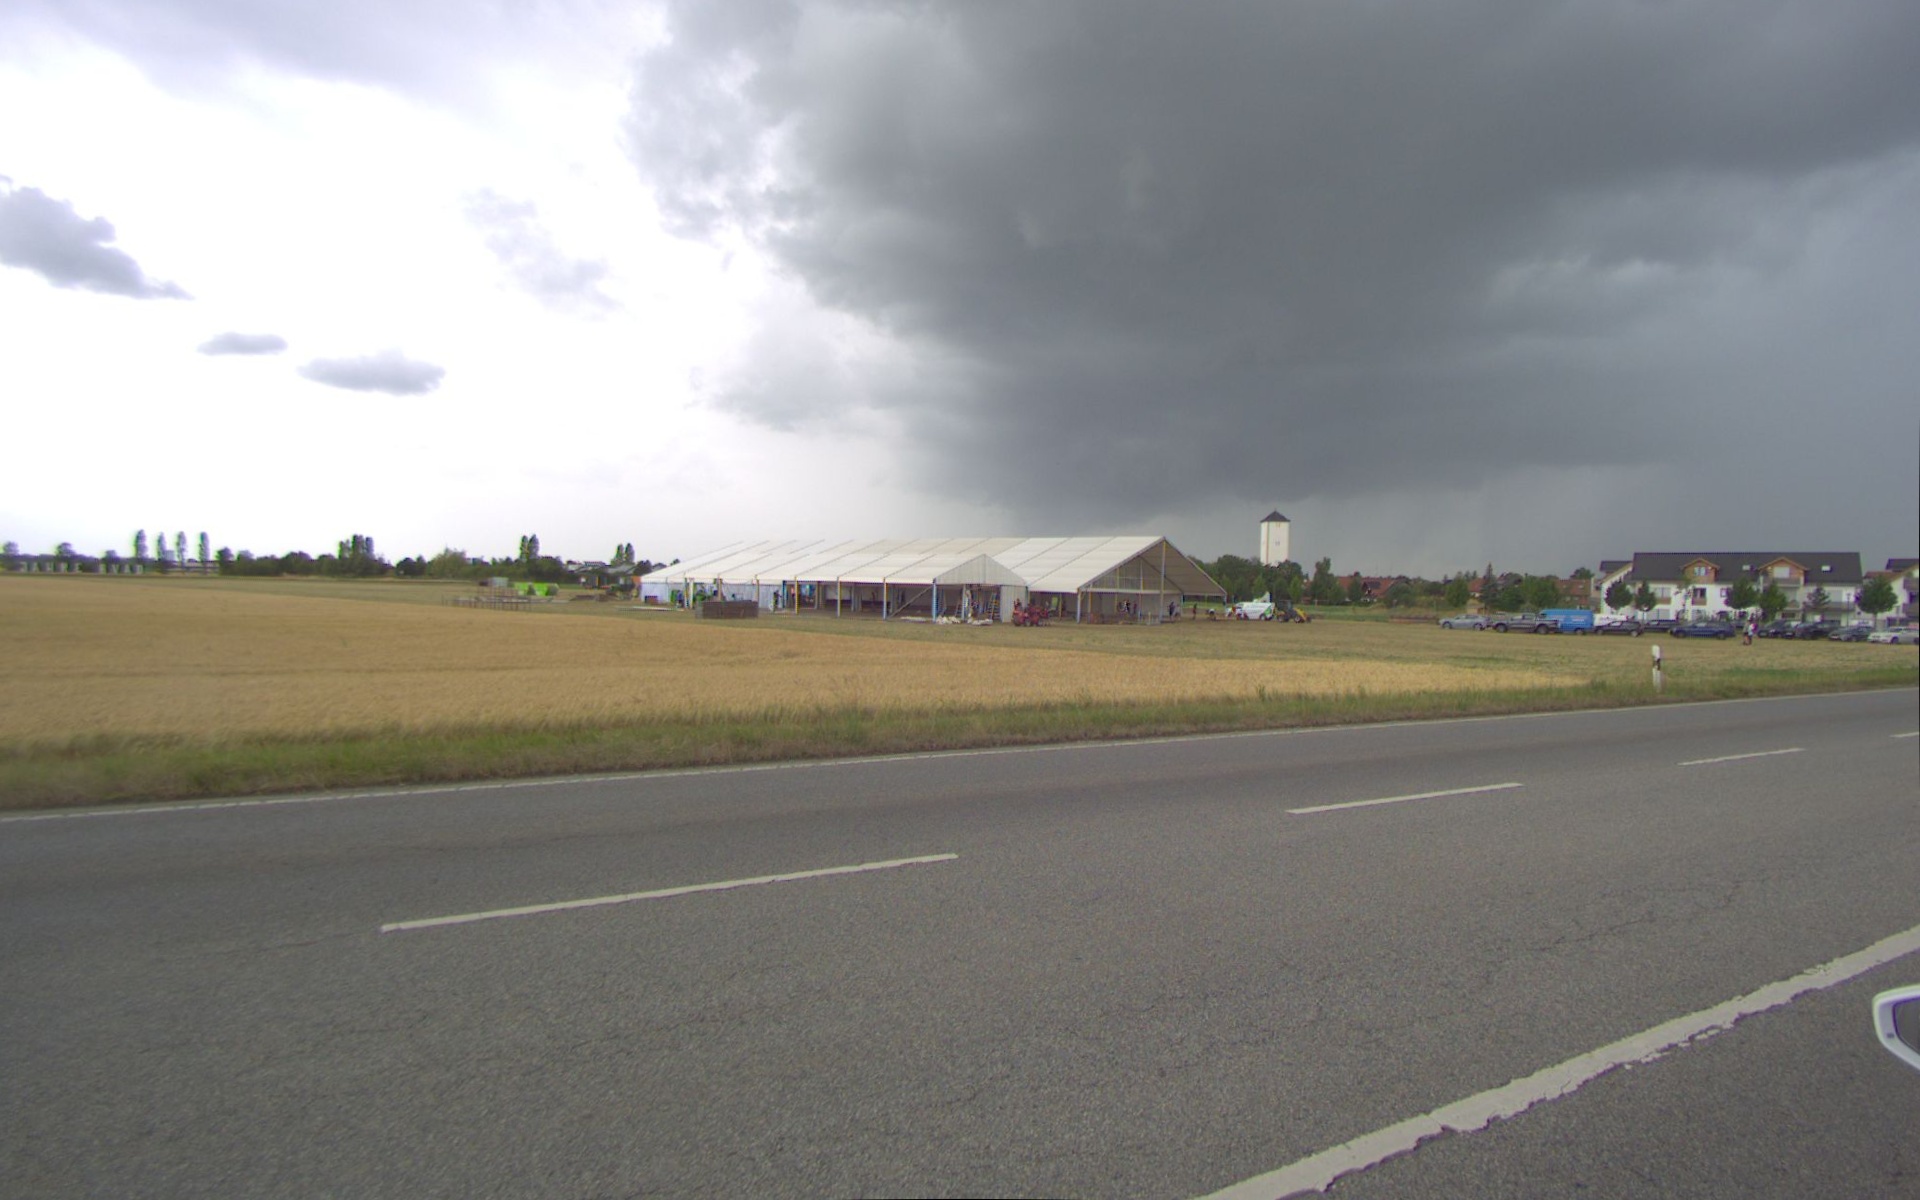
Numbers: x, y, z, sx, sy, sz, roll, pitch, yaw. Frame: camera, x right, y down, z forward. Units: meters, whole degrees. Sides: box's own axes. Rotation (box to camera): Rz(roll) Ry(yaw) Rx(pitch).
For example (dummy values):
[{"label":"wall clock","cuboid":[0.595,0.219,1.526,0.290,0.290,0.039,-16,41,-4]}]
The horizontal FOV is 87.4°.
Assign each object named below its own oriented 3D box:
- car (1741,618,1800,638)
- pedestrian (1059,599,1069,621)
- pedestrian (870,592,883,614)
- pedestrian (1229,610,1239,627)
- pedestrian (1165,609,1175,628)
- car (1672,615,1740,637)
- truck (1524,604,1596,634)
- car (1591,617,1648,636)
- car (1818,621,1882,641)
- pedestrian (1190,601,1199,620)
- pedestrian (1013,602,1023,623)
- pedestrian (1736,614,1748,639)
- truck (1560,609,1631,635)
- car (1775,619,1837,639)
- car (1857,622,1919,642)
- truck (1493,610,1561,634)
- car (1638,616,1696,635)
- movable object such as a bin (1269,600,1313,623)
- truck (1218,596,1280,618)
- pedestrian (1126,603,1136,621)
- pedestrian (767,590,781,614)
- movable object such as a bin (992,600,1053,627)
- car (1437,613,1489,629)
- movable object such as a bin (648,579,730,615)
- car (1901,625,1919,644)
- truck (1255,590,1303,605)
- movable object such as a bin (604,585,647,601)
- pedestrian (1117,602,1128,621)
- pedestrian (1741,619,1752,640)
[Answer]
[{"label":"car","cuboid":[73.696,2.554,91.326,4.138,1.650,1.995,1,0,-12]},{"label":"pedestrian","cuboid":[10.004,0.974,96.548,0.752,2.040,0.878,1,0,12]},{"label":"pedestrian","cuboid":[-8.193,0.303,98.249,0.931,2.130,0.860,1,0,-34]},{"label":"pedestrian","cuboid":[27.878,1.881,102.332,0.690,1.799,0.682,1,0,-43]},{"label":"pedestrian","cuboid":[20.310,1.788,97.121,0.678,1.799,0.693,1,0,32]},{"label":"car","cuboid":[64.803,2.272,87.286,4.659,1.720,1.991,1,0,40]},{"label":"truck","cuboid":[54.516,1.701,91.306,5.378,2.478,2.385,1,0,37]},{"label":"car","cuboid":[59.857,2.376,91.196,4.105,1.539,1.991,1,0,40]},{"label":"car","cuboid":[74.757,2.571,84.391,4.138,1.556,1.995,1,0,-12]},{"label":"pedestrian","cuboid":[23.776,1.094,101.713,0.616,1.890,0.705,1,0,40]},{"label":"pedestrian","cuboid":[4.531,0.989,78.207,0.463,1.649,0.581,1,0,38]},{"label":"pedestrian","cuboid":[58.030,1.971,74.521,0.673,1.809,0.543,1,0,-42]},{"label":"truck","cuboid":[60.513,2.053,95.695,5.493,2.226,2.597,1,0,37]},{"label":"car","cuboid":[73.539,2.518,87.347,4.138,1.650,1.995,1,0,-12]},{"label":"car","cuboid":[75.709,2.615,81.776,4.138,1.465,1.995,1,0,-12]},{"label":"truck","cuboid":[50.597,1.938,89.699,5.154,1.946,2.106,1,0,34]},{"label":"car","cuboid":[70.667,2.509,100.417,4.570,1.720,1.991,1,0,40]},{"label":"movable object such as a bin","cuboid":[33.984,1.139,103.101,3.928,2.273,1.881,1,0,32]},{"label":"truck","cuboid":[31.366,0.762,109.135,5.960,2.246,2.714,1,0,33]},{"label":"pedestrian","cuboid":[16.490,1.150,97.001,0.646,1.767,0.724,1,0,39]},{"label":"pedestrian","cuboid":[-16.274,0.153,87.953,1.005,2.040,0.806,1,0,-2]},{"label":"movable object such as a bin","cuboid":[4.696,1.038,74.739,2.555,1.889,4.458,1,0,36]},{"label":"car","cuboid":[48.242,1.999,96.309,4.235,1.481,1.886,1,0,33]},{"label":"movable object such as a bin","cuboid":[-26.578,-0.309,98.538,7.465,3.219,4.140,2,1,39]},{"label":"car","cuboid":[76.802,2.722,79.066,4.138,1.465,1.995,1,0,-12]},{"label":"truck","cuboid":[60.281,-0.508,190.090,3.256,2.563,9.315,1,0,-25]},{"label":"movable object such as a bin","cuboid":[-47.766,-1.012,143.594,2.528,2.040,5.387,2,0,40]},{"label":"pedestrian","cuboid":[15.849,1.125,97.885,0.721,1.803,0.757,1,0,39]},{"label":"pedestrian","cuboid":[58.793,2.183,75.077,0.582,1.576,0.623,1,0,41]}]
